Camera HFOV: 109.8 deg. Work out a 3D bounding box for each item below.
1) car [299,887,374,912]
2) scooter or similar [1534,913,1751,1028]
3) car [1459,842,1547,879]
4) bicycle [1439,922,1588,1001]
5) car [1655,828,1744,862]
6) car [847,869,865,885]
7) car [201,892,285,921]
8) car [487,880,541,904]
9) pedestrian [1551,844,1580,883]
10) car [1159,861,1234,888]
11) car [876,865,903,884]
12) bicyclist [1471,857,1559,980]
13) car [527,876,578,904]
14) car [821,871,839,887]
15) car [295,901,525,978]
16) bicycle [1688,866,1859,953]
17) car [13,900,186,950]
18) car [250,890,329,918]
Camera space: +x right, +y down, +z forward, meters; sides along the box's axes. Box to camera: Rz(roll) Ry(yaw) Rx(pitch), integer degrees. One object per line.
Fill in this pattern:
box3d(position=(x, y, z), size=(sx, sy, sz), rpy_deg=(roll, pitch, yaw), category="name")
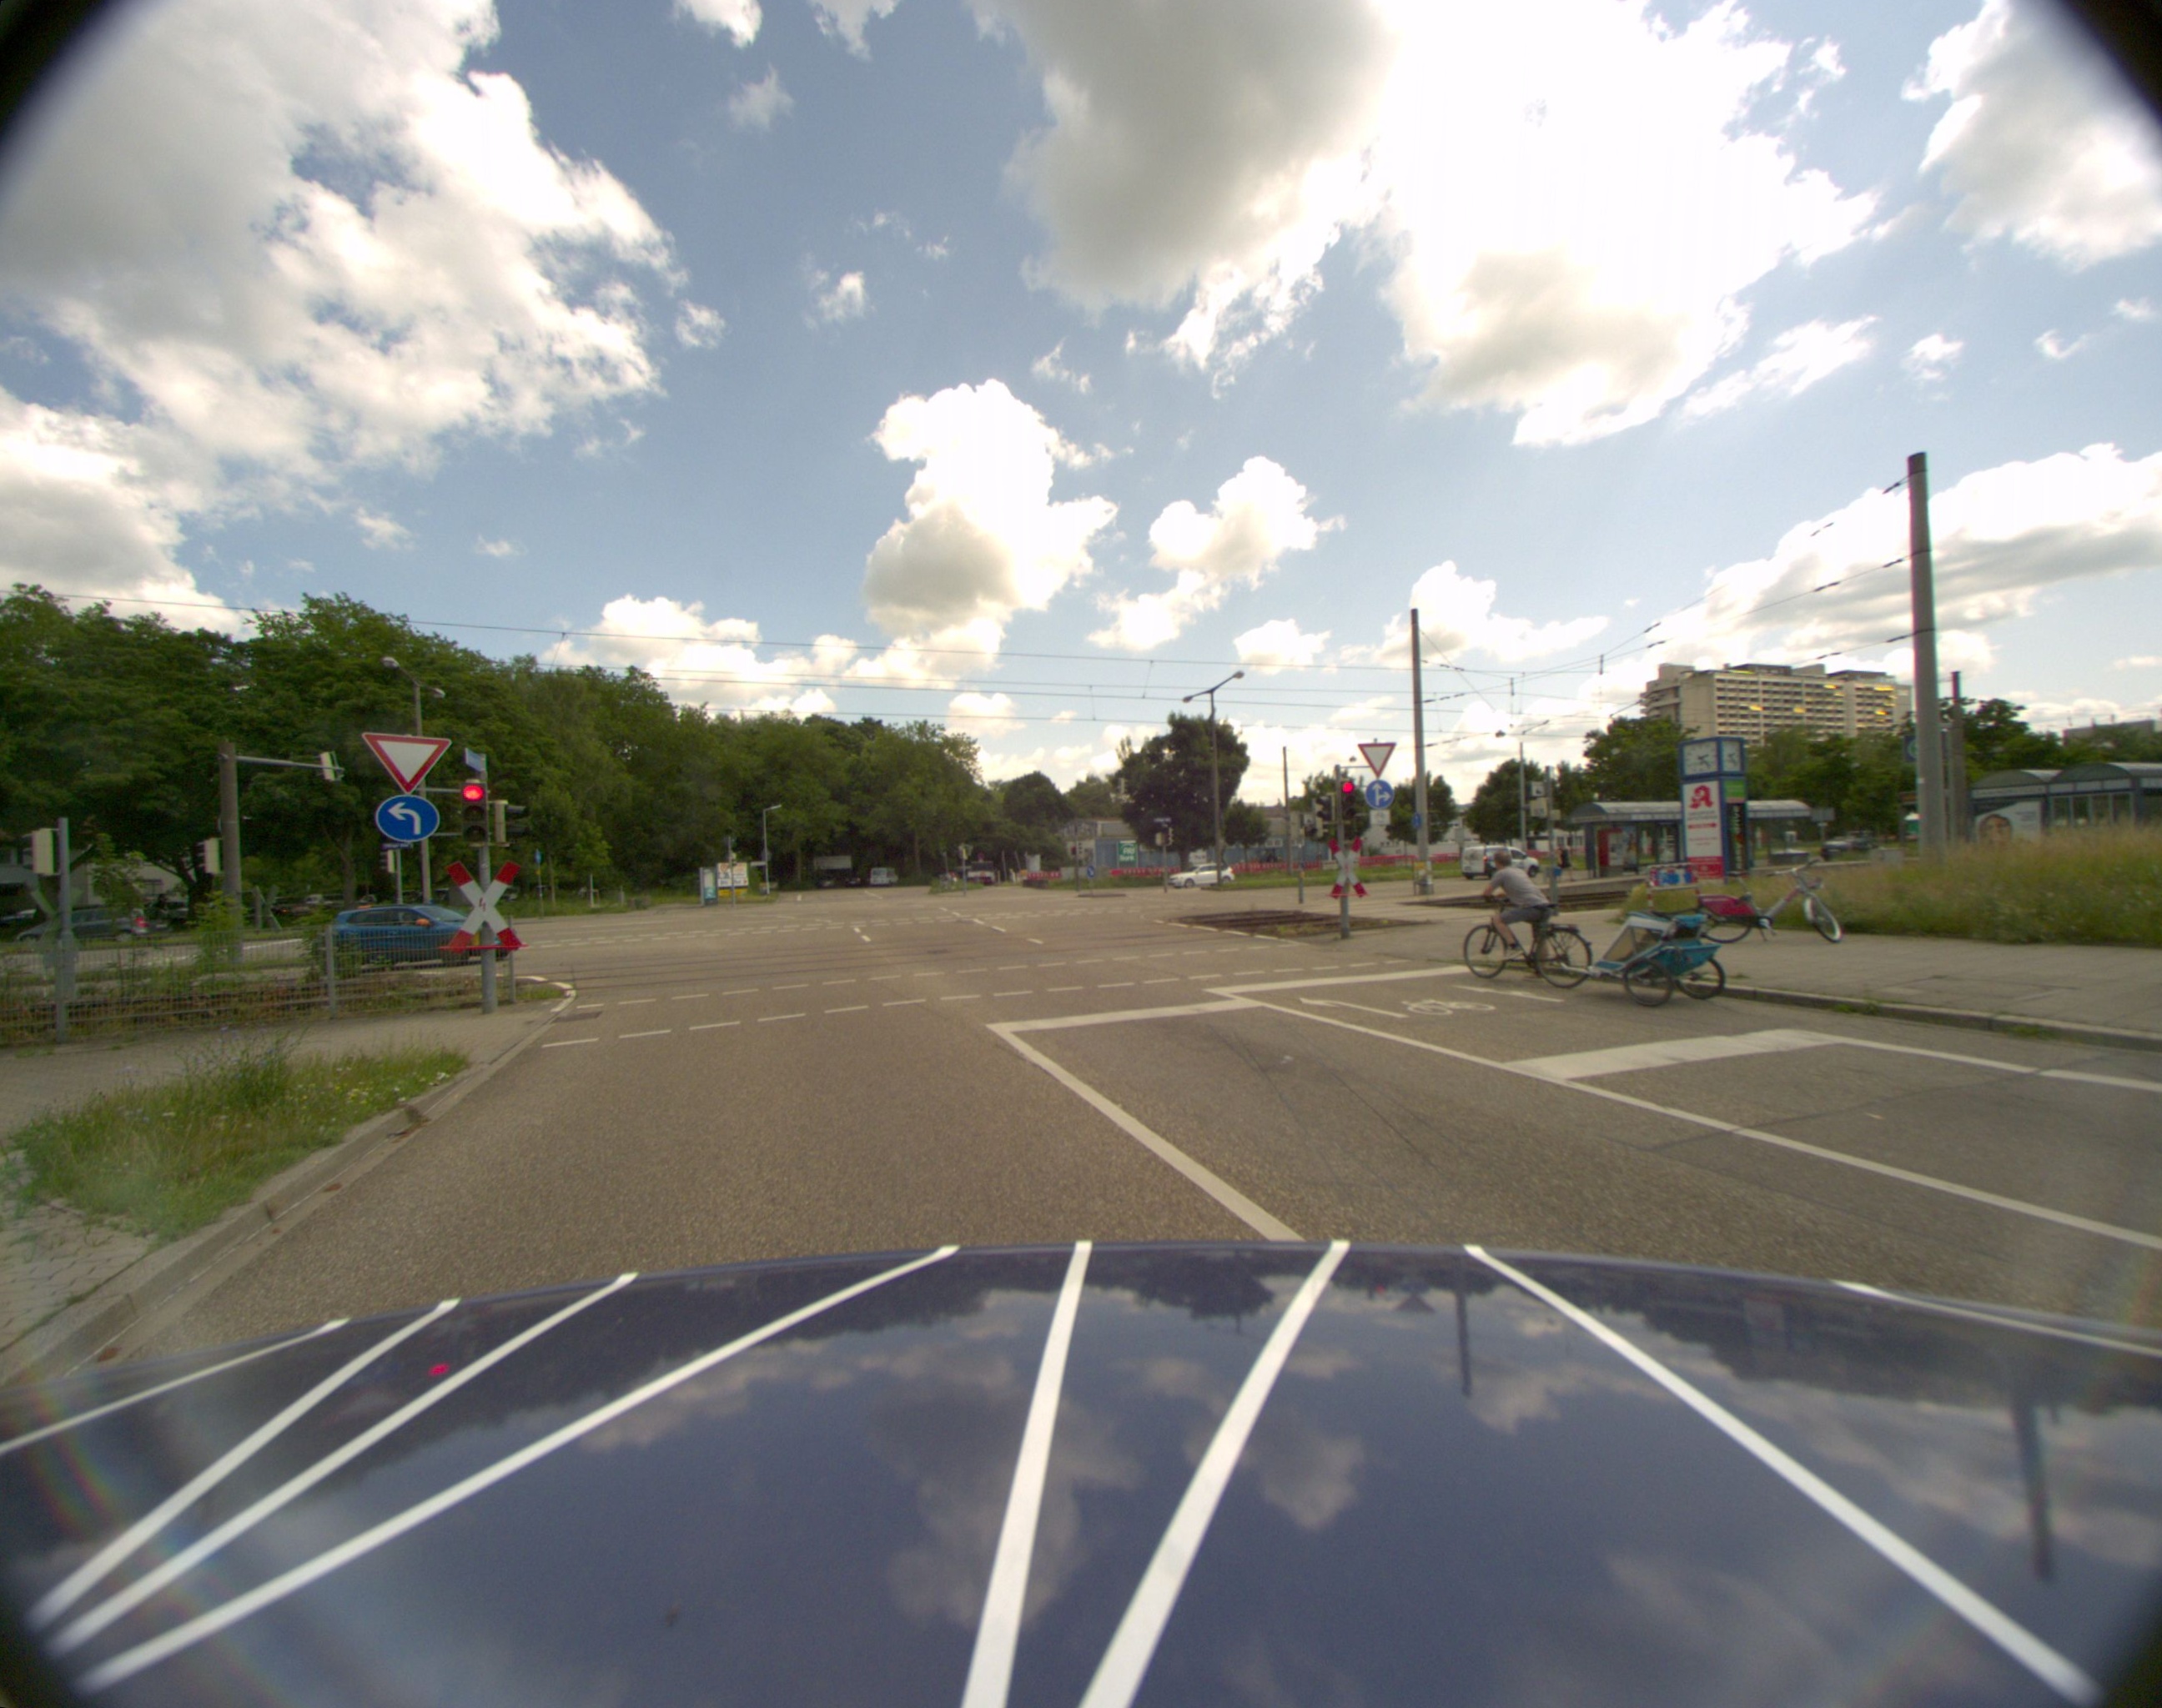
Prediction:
box3d(position=(-52.400, 3.218, 53.470), size=(4.015, 1.536, 2.002), rpy_deg=(-3, 0, 16), category="car")
box3d(position=(5.947, 1.183, 8.161), size=(0.963, 0.974, 1.578), rpy_deg=(-2, -1, -17), category="scooter or similar")
box3d(position=(22.614, 0.315, 40.726), size=(4.159, 1.775, 1.745), rpy_deg=(-2, 1, -19), category="car")
box3d(position=(5.456, 1.330, 9.709), size=(0.555, 0.760, 1.725), rpy_deg=(-2, 0, -17), category="bicycle")
box3d(position=(39.294, -0.566, 48.274), size=(5.236, 1.907, 1.816), rpy_deg=(-2, 0, -19), category="car")
box3d(position=(-23.658, 2.378, 79.939), size=(1.621, 1.499, 3.613), rpy_deg=(-2, 1, -19), category="car")
box3d(position=(-53.714, 3.368, 48.712), size=(4.015, 1.578, 2.002), rpy_deg=(-3, 0, 16), category="car")
box3d(position=(-45.295, 3.003, 60.770), size=(1.819, 1.699, 4.124), rpy_deg=(-2, 0, -12), category="car")
box3d(position=(19.358, 0.368, 30.339), size=(0.719, 1.505, 0.654), rpy_deg=(-2, 0, -29), category="pedestrian")
box3d(position=(7.311, 1.252, 48.128), size=(4.177, 1.495, 1.996), rpy_deg=(-2, 1, -20), category="car")
box3d(position=(-20.215, 2.172, 80.387), size=(1.936, 1.783, 3.618), rpy_deg=(-2, 1, -2), category="car")
box3d(position=(5.482, 0.784, 9.624), size=(0.455, 1.466, 0.840), rpy_deg=(-2, 0, -18), category="bicyclist")
box3d(position=(-42.165, 2.860, 60.736), size=(2.001, 2.002, 3.996), rpy_deg=(-2, 0, -13), category="car")
box3d(position=(-26.140, 2.557, 79.084), size=(1.621, 1.499, 3.613), rpy_deg=(-2, 1, -19), category="car")
box3d(position=(-15.383, 1.928, 17.579), size=(3.702, 1.455, 1.605), rpy_deg=(-3, -1, -5), category="car")
box3d(position=(9.726, 0.793, 10.762), size=(1.656, 1.125, 0.703), rpy_deg=(-5, -1, 36), category="bicycle")
box3d(position=(-38.934, 2.781, 30.265), size=(3.776, 1.584, 1.788), rpy_deg=(-2, 0, -23), category="car")
box3d(position=(-53.203, 3.372, 51.095), size=(4.015, 1.578, 2.002), rpy_deg=(-4, -1, 16), category="car")
